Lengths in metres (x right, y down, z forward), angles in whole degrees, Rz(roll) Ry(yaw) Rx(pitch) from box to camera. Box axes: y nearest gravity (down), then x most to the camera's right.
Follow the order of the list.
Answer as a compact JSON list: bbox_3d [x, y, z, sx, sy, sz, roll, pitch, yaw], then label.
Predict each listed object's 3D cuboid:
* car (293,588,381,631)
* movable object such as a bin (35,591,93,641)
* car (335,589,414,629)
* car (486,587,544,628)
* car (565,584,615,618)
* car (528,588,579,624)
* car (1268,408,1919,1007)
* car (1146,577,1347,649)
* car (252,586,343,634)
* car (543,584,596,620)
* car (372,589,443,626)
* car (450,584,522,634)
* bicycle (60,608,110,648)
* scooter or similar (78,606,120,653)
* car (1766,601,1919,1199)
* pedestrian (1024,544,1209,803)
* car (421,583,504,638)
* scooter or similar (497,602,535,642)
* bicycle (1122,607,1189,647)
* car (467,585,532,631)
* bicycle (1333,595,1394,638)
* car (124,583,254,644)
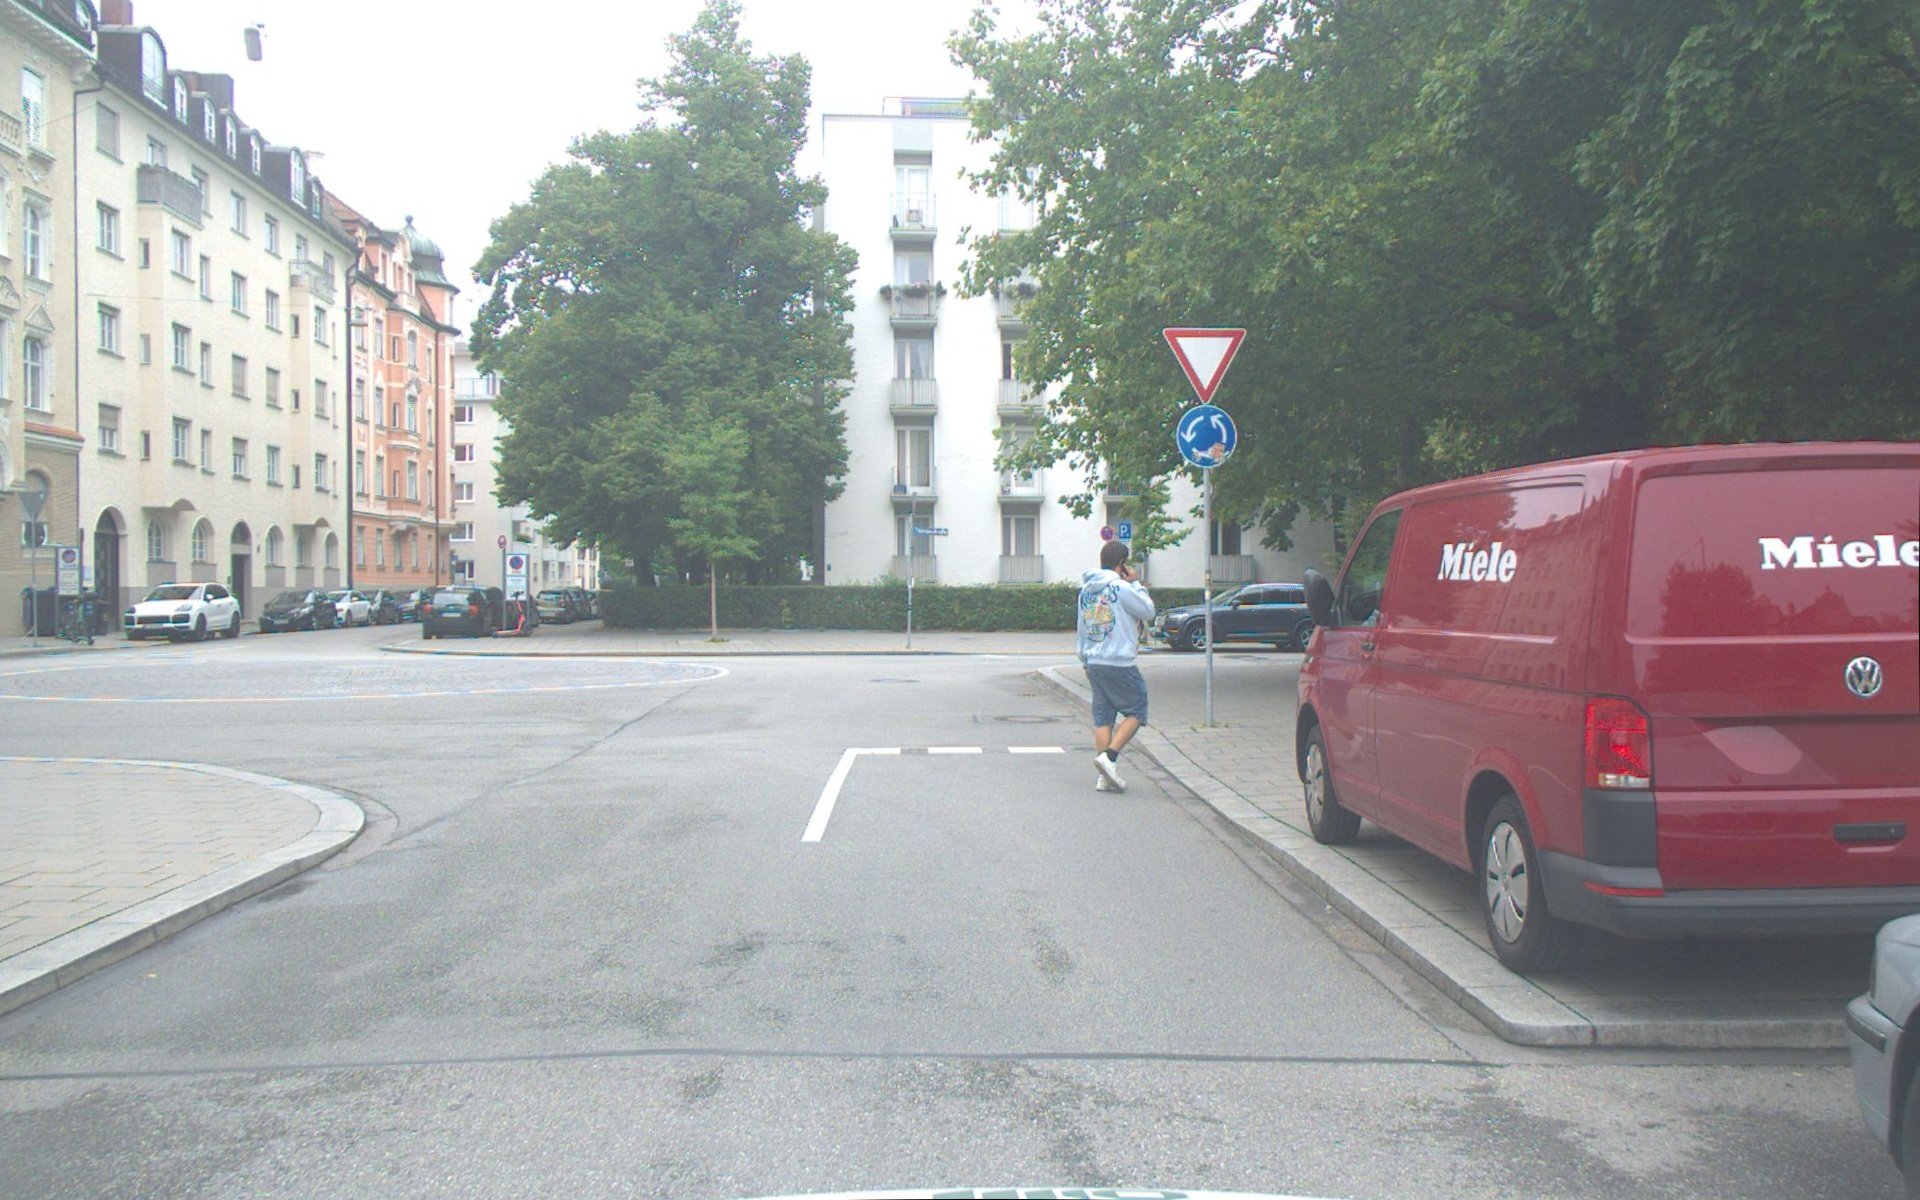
[{"bbox_3d":[-24.097,0.333,64.121,1.936,1.608,4.405,0,0,-3],"label":"car"},{"bbox_3d":[-26.452,0.459,48.846,1.069,1.450,1.173,0,0,-3],"label":"movable object such as a bin"},{"bbox_3d":[-24.462,0.332,69.272,1.936,1.608,4.405,0,0,-3],"label":"car"},{"bbox_3d":[-17.360,0.264,64.662,1.761,1.531,4.106,-2,1,-10],"label":"car"},{"bbox_3d":[-19.210,0.032,85.953,1.798,1.663,3.818,-2,1,-2],"label":"car"},{"bbox_3d":[-18.554,0.257,75.701,1.801,1.531,4.108,-2,1,-8],"label":"car"},{"bbox_3d":[2.937,0.342,7.895,1.836,1.954,4.886,1,0,-2],"label":"car"},{"bbox_3d":[7.441,0.336,43.183,4.807,1.823,1.995,0,-1,-10],"label":"car"},{"bbox_3d":[-23.658,0.318,59.260,1.938,1.644,4.704,0,0,-8],"label":"car"},{"bbox_3d":[-18.933,0.090,80.294,1.799,1.663,4.112,-2,1,-4],"label":"car"},{"bbox_3d":[-24.765,0.328,74.261,1.936,1.608,4.405,0,0,-3],"label":"car"},{"bbox_3d":[-15.551,0.272,54.453,1.761,1.531,4.225,-2,1,-10],"label":"car"},{"bbox_3d":[-24.445,0.781,46.223,0.552,1.067,1.828,0,1,-5],"label":"bicycle"},{"bbox_3d":[-22.662,0.761,43.527,1.190,1.214,0.466,0,0,35],"label":"scooter or similar"},{"bbox_3d":[3.169,0.784,2.170,1.847,1.474,4.365,1,0,-4],"label":"car"},{"bbox_3d":[1.147,0.502,12.159,1.039,1.802,0.866,-1,0,-34],"label":"pedestrian"},{"bbox_3d":[-14.746,0.284,49.261,1.785,1.531,4.412,-2,1,-10],"label":"car"},{"bbox_3d":[-12.539,0.616,46.710,0.989,1.107,0.386,0,0,-33],"label":"scooter or similar"},{"bbox_3d":[5.374,0.735,45.432,1.795,1.067,0.490,-1,0,-16],"label":"bicycle"},{"bbox_3d":[-16.378,0.268,58.962,1.761,1.531,4.106,-2,1,-10],"label":"car"},{"bbox_3d":[11.262,0.436,46.189,0.530,1.169,1.810,-1,1,-32],"label":"bicycle"},{"bbox_3d":[-22.624,0.357,48.756,1.937,1.730,4.835,0,0,-5],"label":"car"}]
